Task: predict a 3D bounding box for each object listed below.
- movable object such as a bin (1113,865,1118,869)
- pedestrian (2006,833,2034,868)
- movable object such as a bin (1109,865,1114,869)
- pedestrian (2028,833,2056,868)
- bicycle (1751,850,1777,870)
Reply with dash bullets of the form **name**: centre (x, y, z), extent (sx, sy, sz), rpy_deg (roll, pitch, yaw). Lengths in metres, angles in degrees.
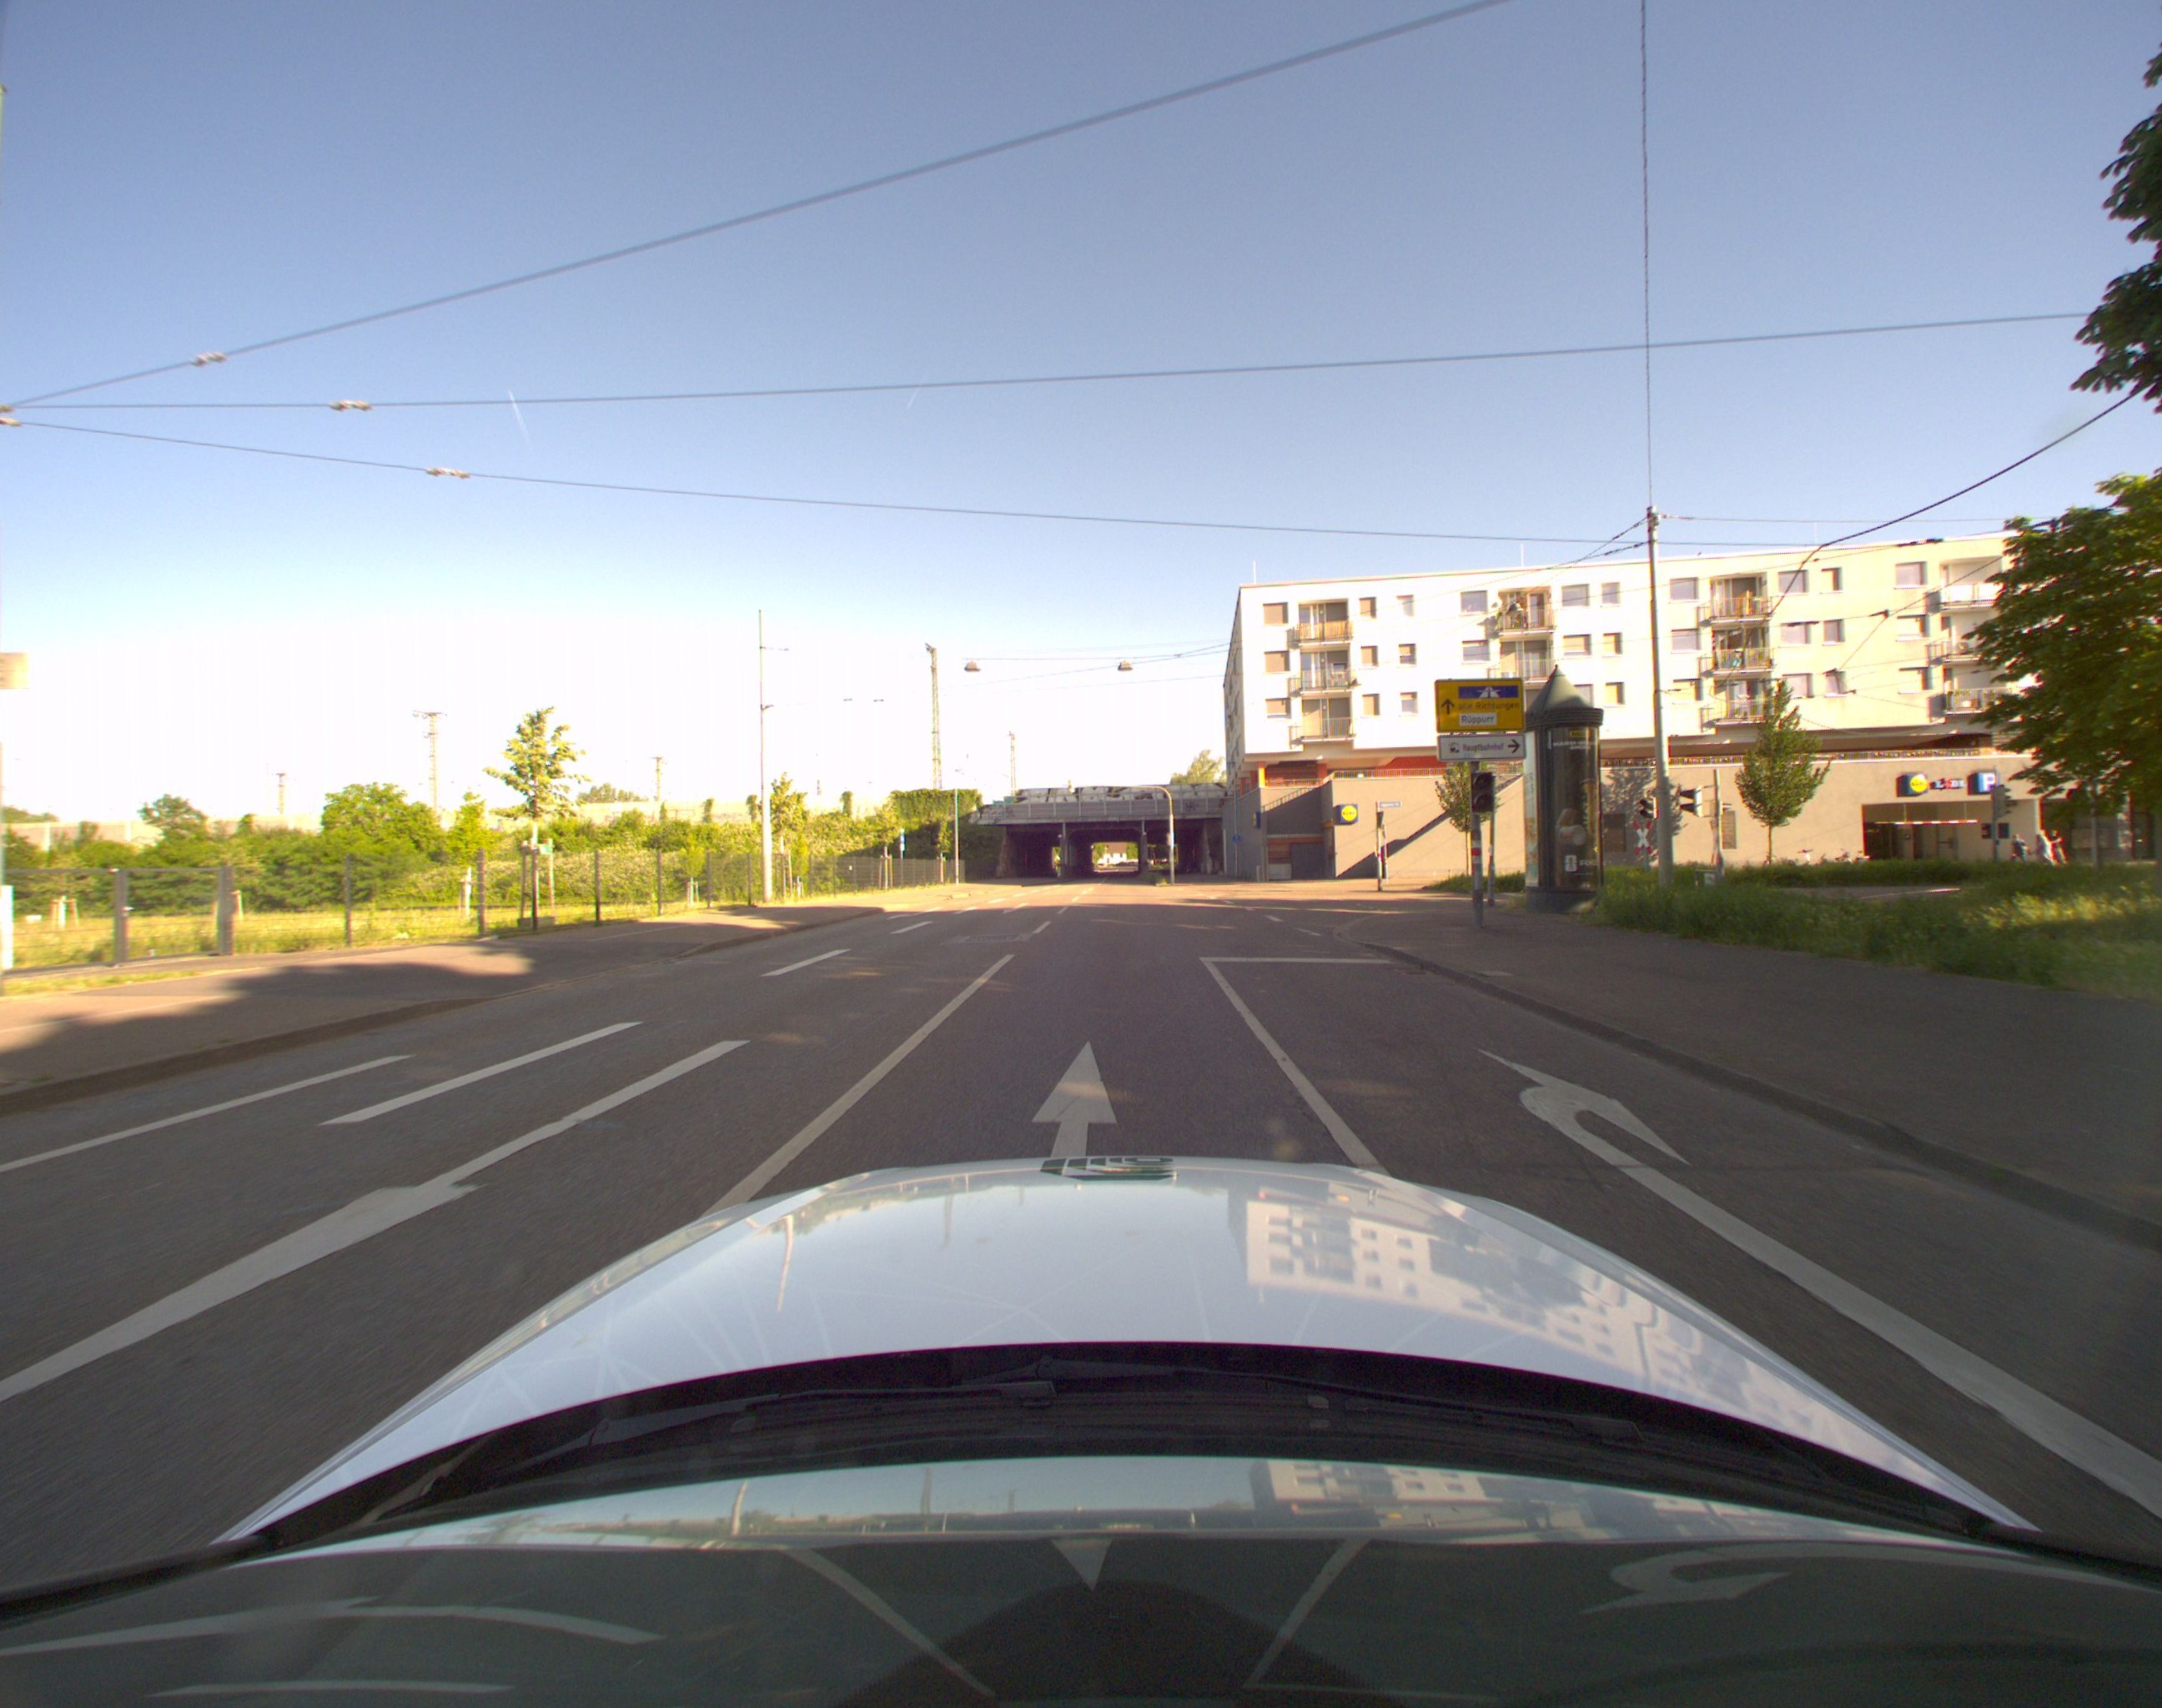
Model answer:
- **movable object such as a bin**: centre (10.773, 3.986, 252.016), extent (1.362, 1.418, 1.064), rpy_deg (1, -2, -4)
- **pedestrian**: centre (45.774, -0.157, 39.714), extent (0.655, 1.702, 0.603), rpy_deg (0, -2, 19)
- **movable object such as a bin**: centre (9.382, 3.970, 251.837), extent (1.362, 1.418, 1.064), rpy_deg (1, -2, -4)
- **pedestrian**: centre (46.589, -0.156, 39.484), extent (0.655, 1.702, 0.603), rpy_deg (0, -2, 19)
- **bicycle**: centre (32.858, 0.293, 39.187), extent (0.477, 0.970, 1.460), rpy_deg (0, -2, 20)
